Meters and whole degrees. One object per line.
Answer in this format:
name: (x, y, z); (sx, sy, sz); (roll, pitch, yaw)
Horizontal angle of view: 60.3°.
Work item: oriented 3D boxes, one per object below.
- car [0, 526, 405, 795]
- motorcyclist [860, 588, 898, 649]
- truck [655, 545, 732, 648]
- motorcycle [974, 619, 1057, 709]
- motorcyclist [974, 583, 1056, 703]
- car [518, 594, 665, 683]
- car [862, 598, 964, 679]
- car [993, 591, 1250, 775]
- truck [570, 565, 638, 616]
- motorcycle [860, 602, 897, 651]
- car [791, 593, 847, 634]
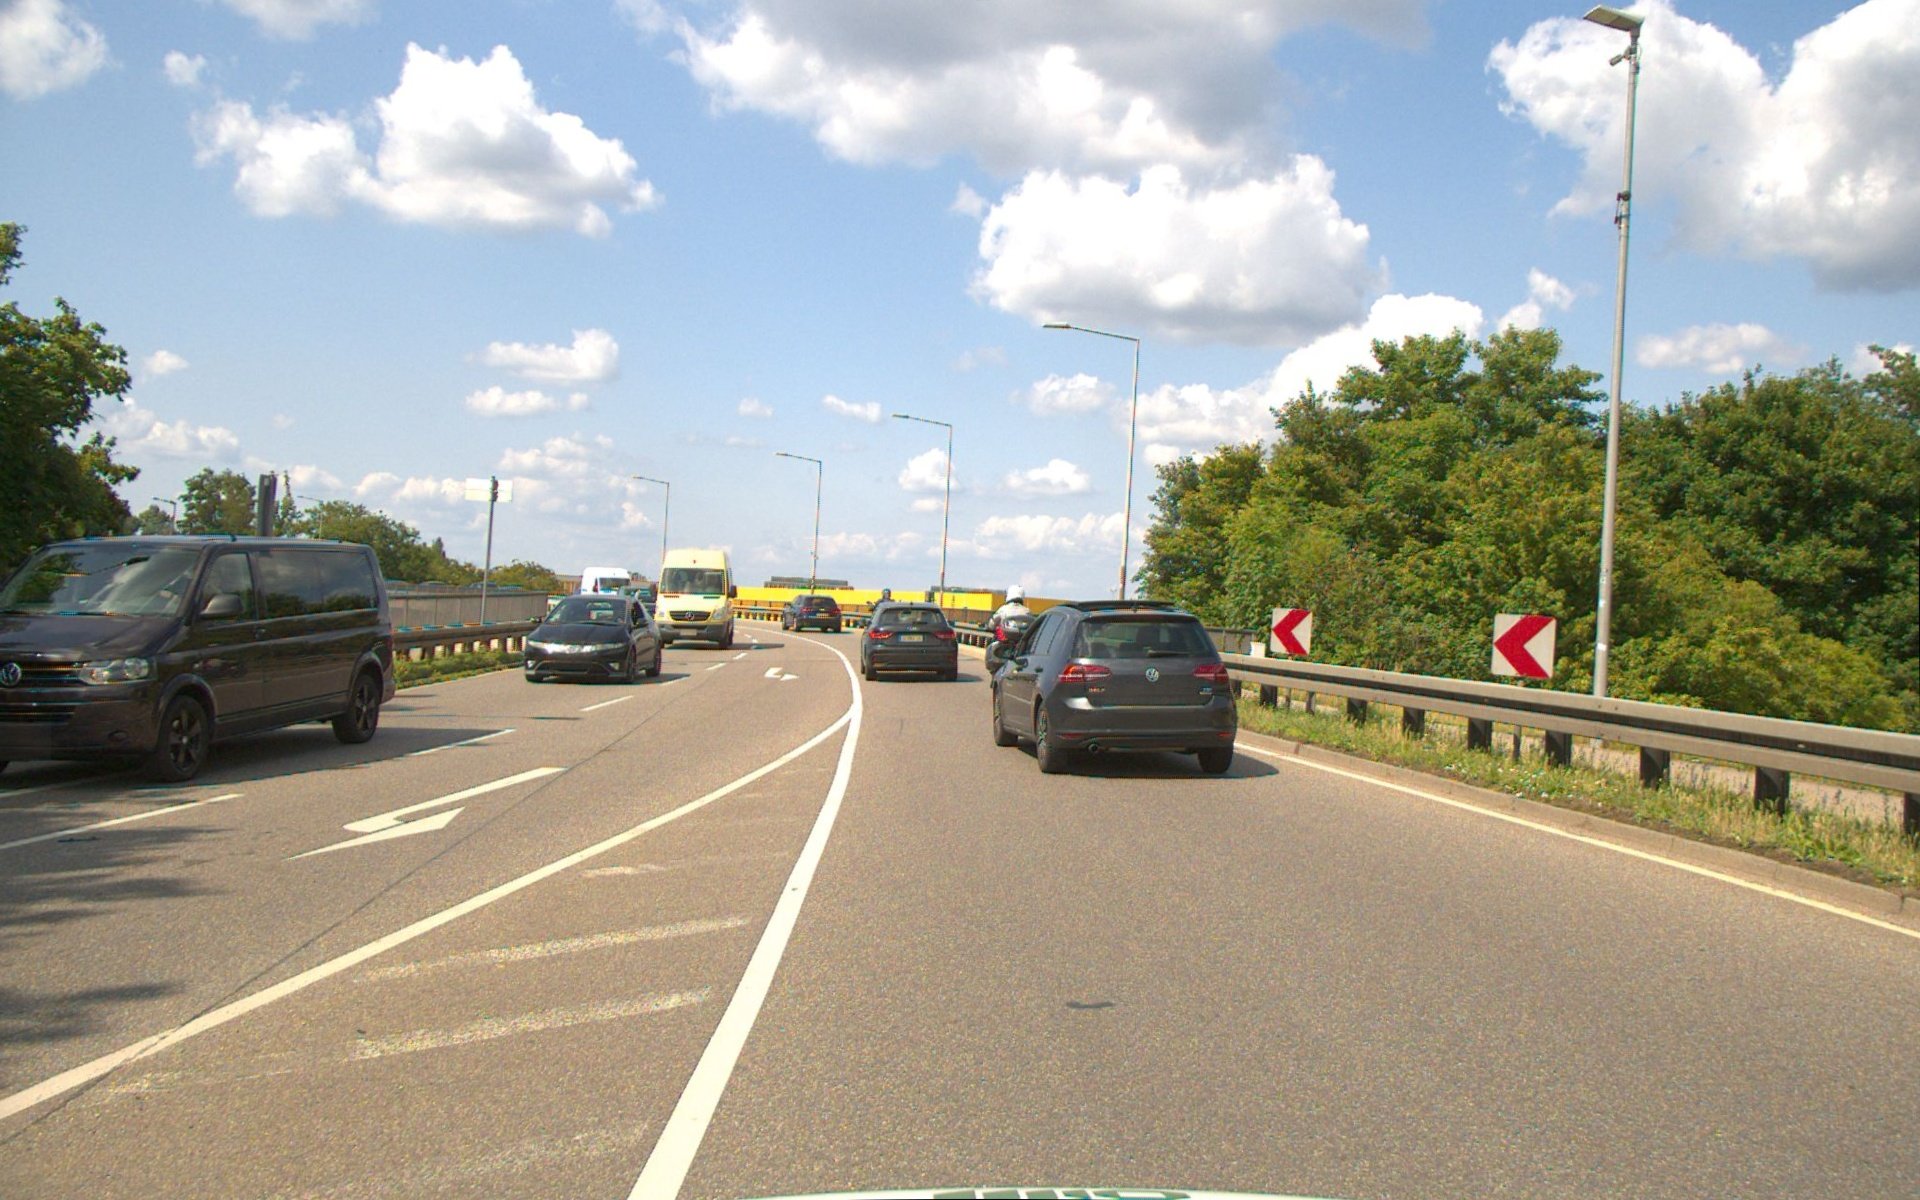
car: (-6.859, 0.422, 14.627); (1.952, 1.947, 5.134); (1, 0, 2)
motorcyclist: (-2.238, 0.504, 45.396); (0.947, 1.624, 1.123); (2, 0, -5)
truck: (-7.379, -0.114, 45.860); (1.957, 2.666, 6.090); (0, 0, -9)
motorcycle: (0.765, 0.872, 23.454); (0.774, 1.151, 2.395); (2, 0, -7)
motorcyclist: (0.775, 0.605, 23.700); (0.948, 1.648, 1.123); (2, -1, -8)
car: (-6.303, 0.624, 28.706); (1.762, 1.413, 4.005); (1, 0, -2)
car: (-0.942, 0.710, 30.974); (1.649, 1.412, 3.734); (1, -1, -6)
car: (1.398, 0.707, 15.734); (1.611, 1.504, 3.866); (2, -1, -7)
truck: (-18.833, -0.512, 87.312); (1.971, 2.551, 5.892); (1, 0, -28)
motorcycle: (-2.252, 0.713, 45.418); (0.870, 1.269, 2.397); (2, 0, -5)
car: (-5.616, 0.525, 65.536); (1.614, 1.504, 3.859); (2, -1, -13)
